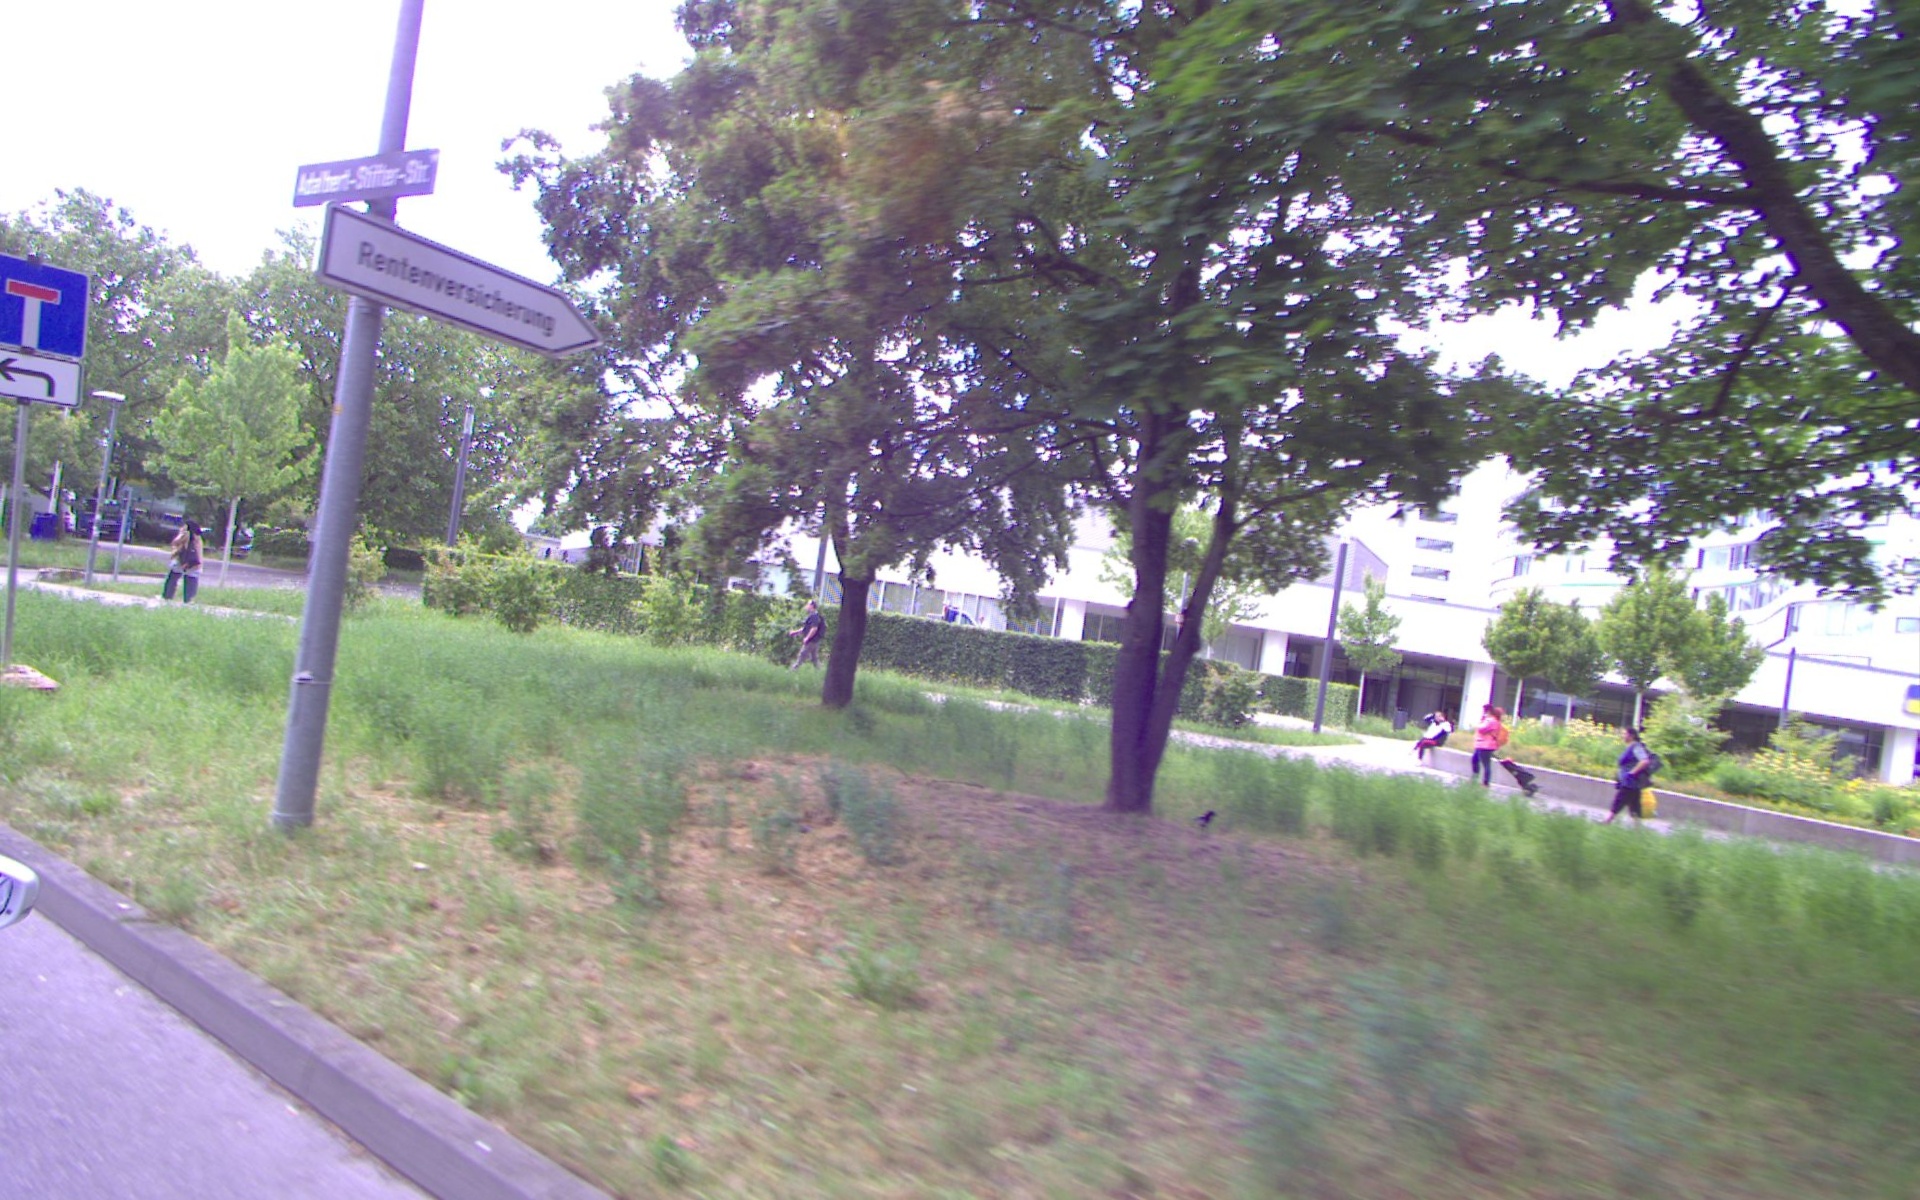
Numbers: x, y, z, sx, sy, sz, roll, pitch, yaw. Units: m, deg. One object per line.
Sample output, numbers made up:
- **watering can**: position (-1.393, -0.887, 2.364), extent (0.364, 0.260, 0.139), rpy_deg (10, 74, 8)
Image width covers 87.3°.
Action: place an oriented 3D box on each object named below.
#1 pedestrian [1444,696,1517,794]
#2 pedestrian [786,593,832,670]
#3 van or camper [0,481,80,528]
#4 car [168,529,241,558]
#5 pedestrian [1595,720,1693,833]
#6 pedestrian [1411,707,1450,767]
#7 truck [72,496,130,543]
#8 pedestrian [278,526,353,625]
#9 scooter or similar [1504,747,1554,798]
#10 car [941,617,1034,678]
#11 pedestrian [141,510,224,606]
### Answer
- **pedestrian**: position (9.624, 2.658, 18.583), extent (0.916, 1.625, 0.954), rpy_deg (7, -2, 35)
- **pedestrian**: position (-3.144, 0.649, 20.992), extent (0.686, 1.468, 0.835), rpy_deg (9, -1, -4)
- **van or camper**: position (-50.850, -5.267, 54.245), extent (4.639, 1.937, 1.757), rpy_deg (9, 0, -30)
- **car**: position (-56.342, -4.191, 75.073), extent (1.742, 1.518, 3.929), rpy_deg (8, -1, 31)
- **pedestrian**: position (10.264, 2.628, 15.147), extent (0.966, 1.468, 0.879), rpy_deg (9, -1, 30)
- **pedestrian**: position (10.133, 2.939, 21.648), extent (0.595, 1.174, 0.648), rpy_deg (7, -1, 29)
- **truck**: position (-52.220, -4.908, 61.230), extent (2.319, 2.322, 5.828), rpy_deg (10, -2, -40)
- **pedestrian**: position (-12.365, -0.461, 19.310), extent (0.810, 1.743, 0.775), rpy_deg (9, 0, 35)
- **scooter or similar**: position (10.312, 3.115, 18.238), extent (0.662, 0.791, 0.634), rpy_deg (6, -2, 35)
- **car**: position (0.971, 1.712, 36.745), extent (3.096, 1.695, 1.576), rpy_deg (10, -1, -1)
- **pedestrian**: position (-15.404, -0.818, 19.948), extent (0.807, 1.743, 0.777), rpy_deg (9, 0, 14)
